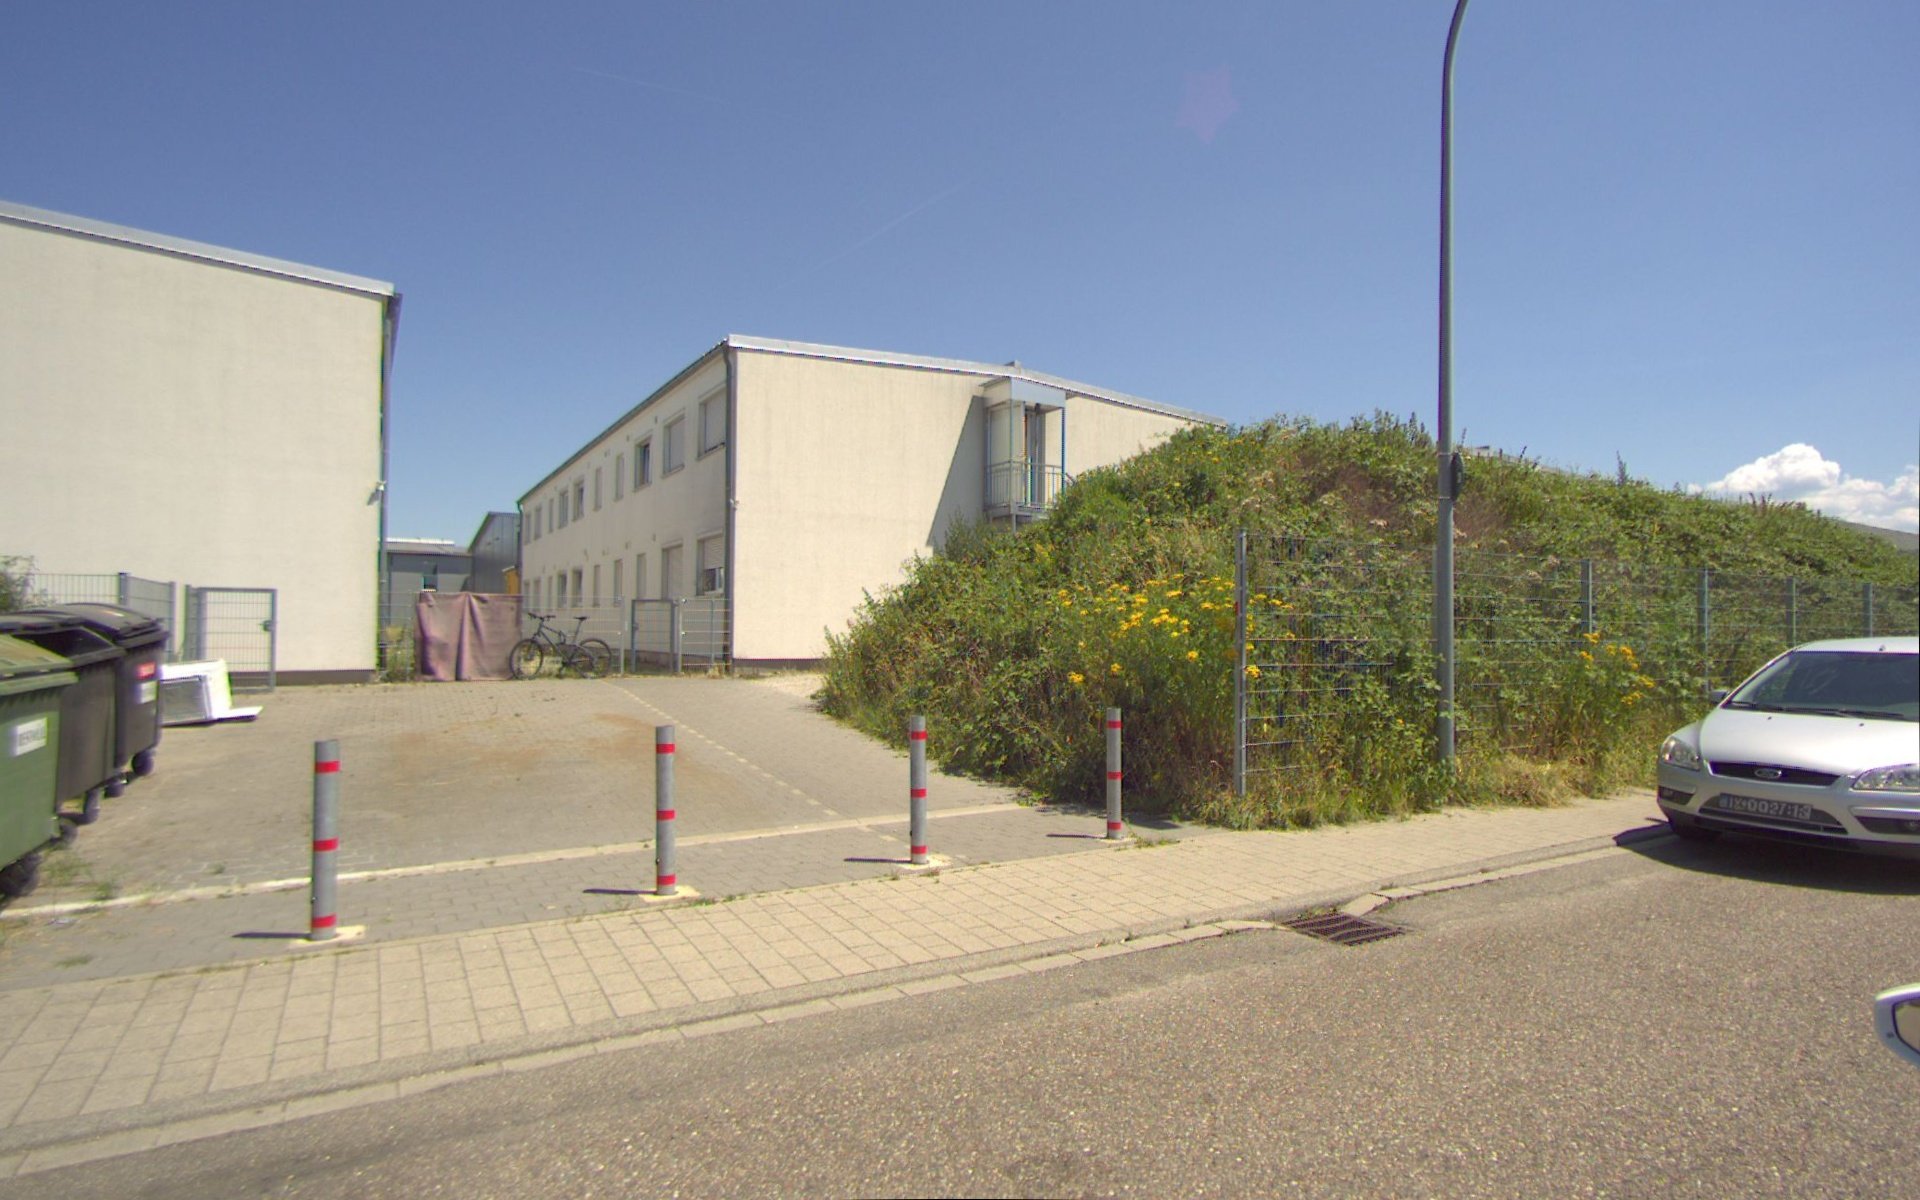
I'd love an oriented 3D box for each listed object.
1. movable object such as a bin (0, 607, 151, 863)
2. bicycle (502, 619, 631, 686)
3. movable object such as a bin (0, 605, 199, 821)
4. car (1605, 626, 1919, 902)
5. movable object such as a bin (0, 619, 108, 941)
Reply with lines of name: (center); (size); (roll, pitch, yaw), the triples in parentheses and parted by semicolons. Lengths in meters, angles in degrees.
movable object such as a bin: (-6.464, 0.819, 6.462); (1.745, 1.485, 1.343); (1, 2, -30)
bicycle: (-6.740, 0.891, 17.255); (1.976, 1.087, 0.549); (2, 0, -33)
movable object such as a bin: (-7.132, 0.819, 7.810); (1.745, 1.485, 1.343); (1, 2, -30)
car: (6.936, 1.003, 7.492); (4.316, 1.567, 1.825); (1, -2, -30)
movable object such as a bin: (-5.472, 0.832, 4.851); (1.817, 1.496, 1.297); (1, -2, -30)
